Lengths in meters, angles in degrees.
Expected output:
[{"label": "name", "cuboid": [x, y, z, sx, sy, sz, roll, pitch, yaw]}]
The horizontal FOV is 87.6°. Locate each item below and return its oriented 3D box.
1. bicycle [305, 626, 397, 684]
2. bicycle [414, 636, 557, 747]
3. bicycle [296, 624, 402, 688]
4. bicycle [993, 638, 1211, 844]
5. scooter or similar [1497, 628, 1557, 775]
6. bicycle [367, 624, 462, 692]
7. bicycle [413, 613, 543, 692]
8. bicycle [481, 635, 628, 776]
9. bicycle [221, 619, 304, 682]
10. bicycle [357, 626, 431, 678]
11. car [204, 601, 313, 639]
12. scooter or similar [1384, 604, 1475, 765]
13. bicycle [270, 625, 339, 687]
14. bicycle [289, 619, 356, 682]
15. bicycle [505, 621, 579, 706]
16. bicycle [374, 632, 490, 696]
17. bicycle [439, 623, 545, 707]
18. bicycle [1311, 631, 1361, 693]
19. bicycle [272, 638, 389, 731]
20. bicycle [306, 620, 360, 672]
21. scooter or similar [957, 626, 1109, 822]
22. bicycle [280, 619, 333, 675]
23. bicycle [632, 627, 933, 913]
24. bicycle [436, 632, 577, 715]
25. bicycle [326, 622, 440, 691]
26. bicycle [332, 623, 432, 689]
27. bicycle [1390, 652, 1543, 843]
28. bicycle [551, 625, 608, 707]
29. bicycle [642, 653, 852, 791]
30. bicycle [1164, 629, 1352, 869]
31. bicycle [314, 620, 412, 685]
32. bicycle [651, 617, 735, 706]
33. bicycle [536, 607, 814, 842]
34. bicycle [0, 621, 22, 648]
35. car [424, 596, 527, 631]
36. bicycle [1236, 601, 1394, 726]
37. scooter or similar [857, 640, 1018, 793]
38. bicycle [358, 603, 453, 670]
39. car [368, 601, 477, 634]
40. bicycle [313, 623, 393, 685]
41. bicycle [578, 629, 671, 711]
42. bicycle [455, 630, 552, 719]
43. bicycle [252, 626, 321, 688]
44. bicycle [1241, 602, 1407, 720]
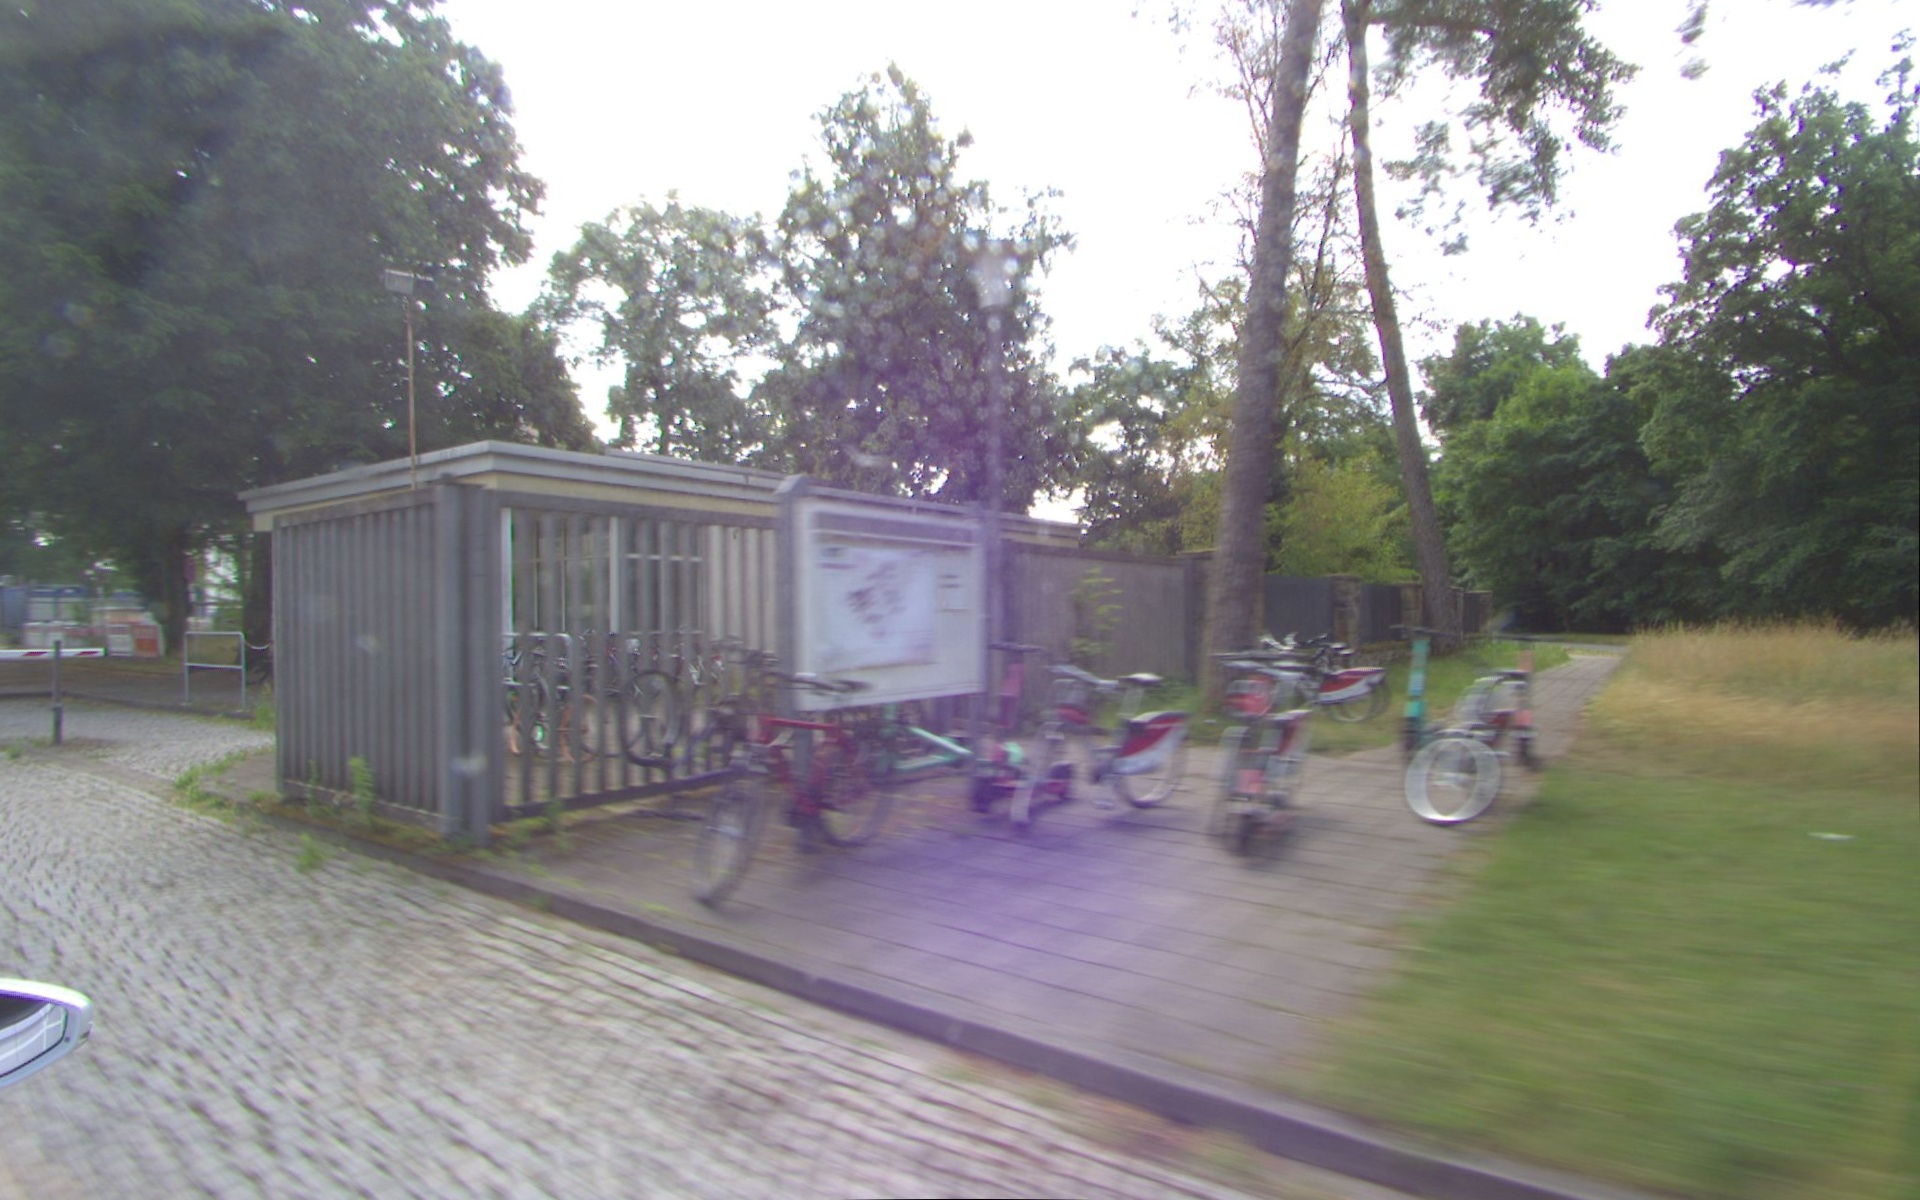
[{"label": "bicycle", "cuboid": [-12.739, 1.148, 20.936, 1.765, 1.133, 0.445, -3, -1, 11]}, {"label": "bicycle", "cuboid": [-5.093, 0.937, 10.727, 1.573, 1.071, 0.727, 0, 0, 36]}, {"label": "bicycle", "cuboid": [-11.971, 1.074, 19.682, 0.353, 1.186, 1.798, -2, -1, 30]}, {"label": "bicycle", "cuboid": [1.004, 0.888, 6.849, 1.594, 1.178, 0.616, -1, 2, -43]}, {"label": "scooter or similar", "cuboid": [5.264, 0.902, 9.275, 0.432, 1.244, 1.085, -2, 0, 31]}, {"label": "bicycle", "cuboid": [-9.923, 1.028, 18.273, 0.394, 1.174, 1.703, -2, -1, 17]}, {"label": "bicycle", "cuboid": [-7.745, 0.823, 16.188, 0.479, 1.186, 1.946, -2, -1, 30]}, {"label": "bicycle", "cuboid": [-3.907, 0.959, 9.593, 1.693, 1.186, 0.499, 1, 1, 36]}, {"label": "bicycle", "cuboid": [-14.045, 1.004, 20.204, 0.426, 1.186, 1.381, -2, 0, 14]}, {"label": "bicycle", "cuboid": [-12.256, 1.126, 21.671, 1.868, 1.095, 0.371, -2, -1, 26]}, {"label": "car", "cuboid": [-35.857, 1.021, 51.274, 1.975, 1.844, 4.204, -1, -1, 38]}, {"label": "scooter or similar", "cuboid": [4.516, 0.763, 9.593, 0.523, 1.435, 1.244, -2, -1, 37]}, {"label": "bicycle", "cuboid": [-13.034, 1.091, 19.940, 0.352, 1.186, 1.383, -2, -1, 4]}, {"label": "bicycle", "cuboid": [-12.647, 0.987, 19.897, 0.352, 1.186, 1.383, -2, -1, 4]}, {"label": "bicycle", "cuboid": [-6.194, 0.921, 14.909, 0.428, 1.186, 1.653, -2, -1, -2]}, {"label": "bicycle", "cuboid": [-9.416, 1.117, 17.946, 0.395, 1.042, 1.979, -2, -1, 25]}, {"label": "bicycle", "cuboid": [-6.982, 0.953, 14.990, 0.431, 1.186, 1.386, -3, -1, 36]}, {"label": "bicycle", "cuboid": [6.870, 1.105, 18.261, 0.368, 1.030, 1.941, 0, 0, 35]}, {"label": "bicycle", "cuboid": [-8.252, 1.069, 13.108, 1.691, 1.087, 0.727, 0, 0, 36]}, {"label": "bicycle", "cuboid": [-14.892, 1.101, 23.770, 1.534, 1.186, 0.502, -3, -1, 35]}, {"label": "scooter or similar", "cuboid": [0.552, 0.832, 7.205, 0.382, 1.262, 1.273, 0, 1, 42]}, {"label": "bicycle", "cuboid": [-15.224, 1.078, 23.318, 1.563, 1.102, 0.502, 7, 5, 36]}, {"label": "bicycle", "cuboid": [-0.909, 0.825, 5.610, 0.663, 1.294, 1.731, 0, 1, 32]}, {"label": "bicycle", "cuboid": [-7.144, 1.127, 15.886, 0.479, 1.186, 2.065, -3, -1, 34]}, {"label": "bicycle", "cuboid": [-10.539, 1.012, 18.361, 0.574, 1.186, 1.801, -2, -1, 24]}, {"label": "bicycle", "cuboid": [-11.008, 1.043, 19.150, 0.488, 1.186, 1.804, -2, -1, 15]}, {"label": "bicycle", "cuboid": [3.597, 0.951, 7.034, 0.731, 1.099, 1.673, -2, -1, 34]}, {"label": "bicycle", "cuboid": [-5.611, 0.949, 14.830, 0.428, 1.133, 1.653, -2, -1, -9]}, {"label": "bicycle", "cuboid": [-1.762, 0.987, 8.590, 0.451, 0.981, 1.938, 0, 0, 37]}, {"label": "bicycle", "cuboid": [2.028, 0.849, 6.580, 0.626, 1.257, 2.163, 2, 1, 31]}, {"label": "bicycle", "cuboid": [-11.502, 0.991, 19.341, 0.488, 1.186, 1.748, -2, -1, 15]}, {"label": "bicycle", "cuboid": [-3.810, 0.836, 14.202, 0.431, 1.186, 1.709, -1, 0, -41]}, {"label": "bicycle", "cuboid": [-1.936, 0.779, 7.059, 0.510, 1.435, 1.891, -2, -1, 41]}, {"label": "bicycle", "cuboid": [-38.083, 1.389, 40.171, 1.703, 1.020, 0.331, -3, -1, 36]}, {"label": "car", "cuboid": [-26.605, 0.768, 55.064, 4.747, 1.812, 2.000, -1, -1, 8]}, {"label": "bicycle", "cuboid": [4.345, 0.747, 12.317, 1.767, 1.436, 0.587, 1, 1, 21]}, {"label": "scooter or similar", "cuboid": [-0.171, 0.914, 8.044, 1.228, 1.165, 0.438, 0, 0, 9]}, {"label": "bicycle", "cuboid": [-11.848, 0.770, 21.392, 1.866, 1.136, 0.370, 9, 35, 22]}, {"label": "car", "cuboid": [-28.222, 0.924, 52.651, 4.747, 1.671, 2.000, -1, -1, 8]}, {"label": "bicycle", "cuboid": [-12.171, 1.064, 20.118, 0.353, 1.186, 1.377, -2, -1, 27]}, {"label": "bicycle", "cuboid": [-5.165, 1.083, 15.368, 1.577, 1.096, 0.433, -9, -5, 35]}, {"label": "bicycle", "cuboid": [-6.693, 1.065, 14.758, 0.428, 1.186, 1.652, -2, 0, 8]}, {"label": "bicycle", "cuboid": [-13.428, 1.120, 19.999, 0.352, 1.186, 1.383, -2, -1, 4]}, {"label": "bicycle", "cuboid": [4.646, 0.751, 12.852, 1.948, 1.436, 0.577, 0, 0, 21]}]
